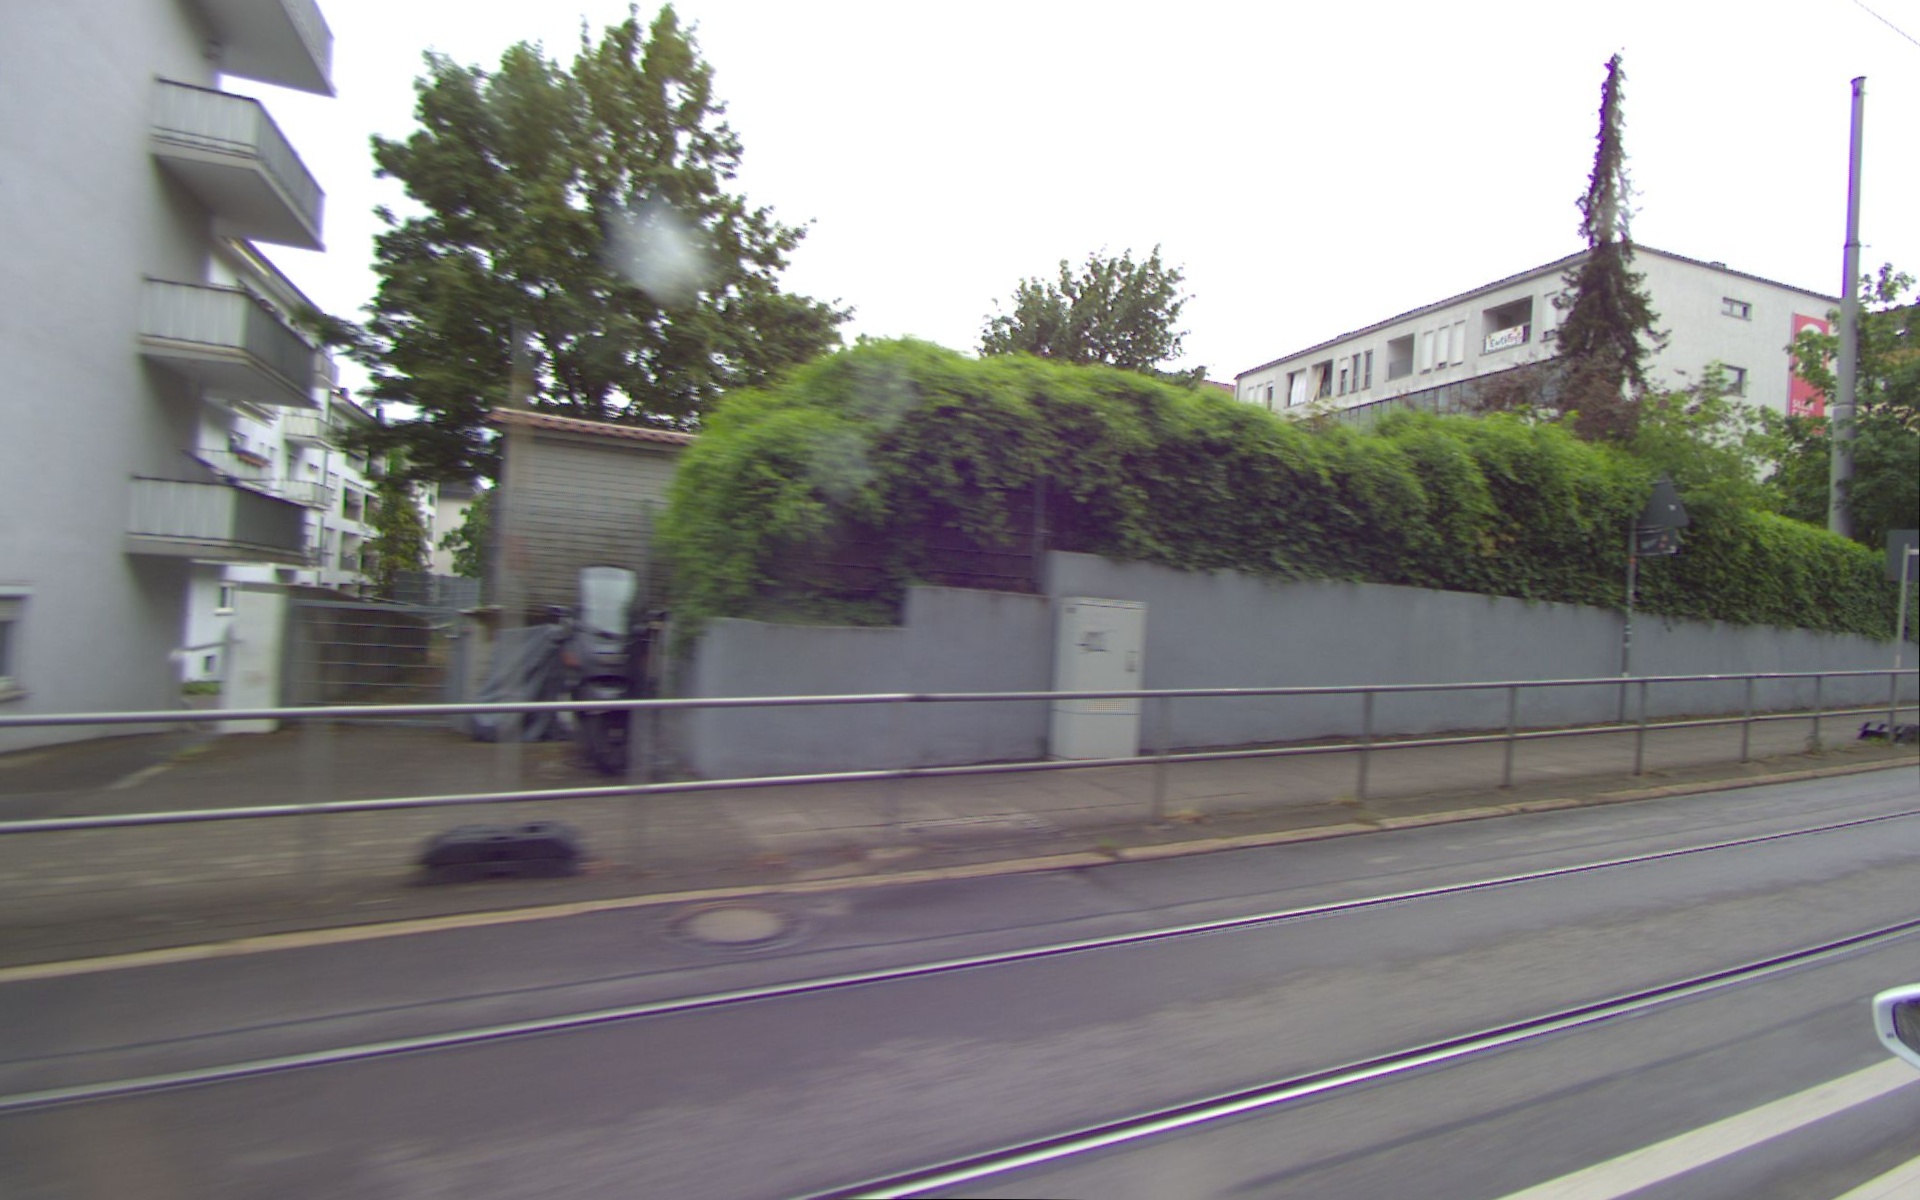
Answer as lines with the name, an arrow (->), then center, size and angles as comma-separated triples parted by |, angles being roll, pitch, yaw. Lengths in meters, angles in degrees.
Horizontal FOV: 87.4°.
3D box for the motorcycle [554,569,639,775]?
motorcycle -> -3.263, 0.590, 8.926 | 0.588, 1.622, 1.917 | 0, -1, -24
